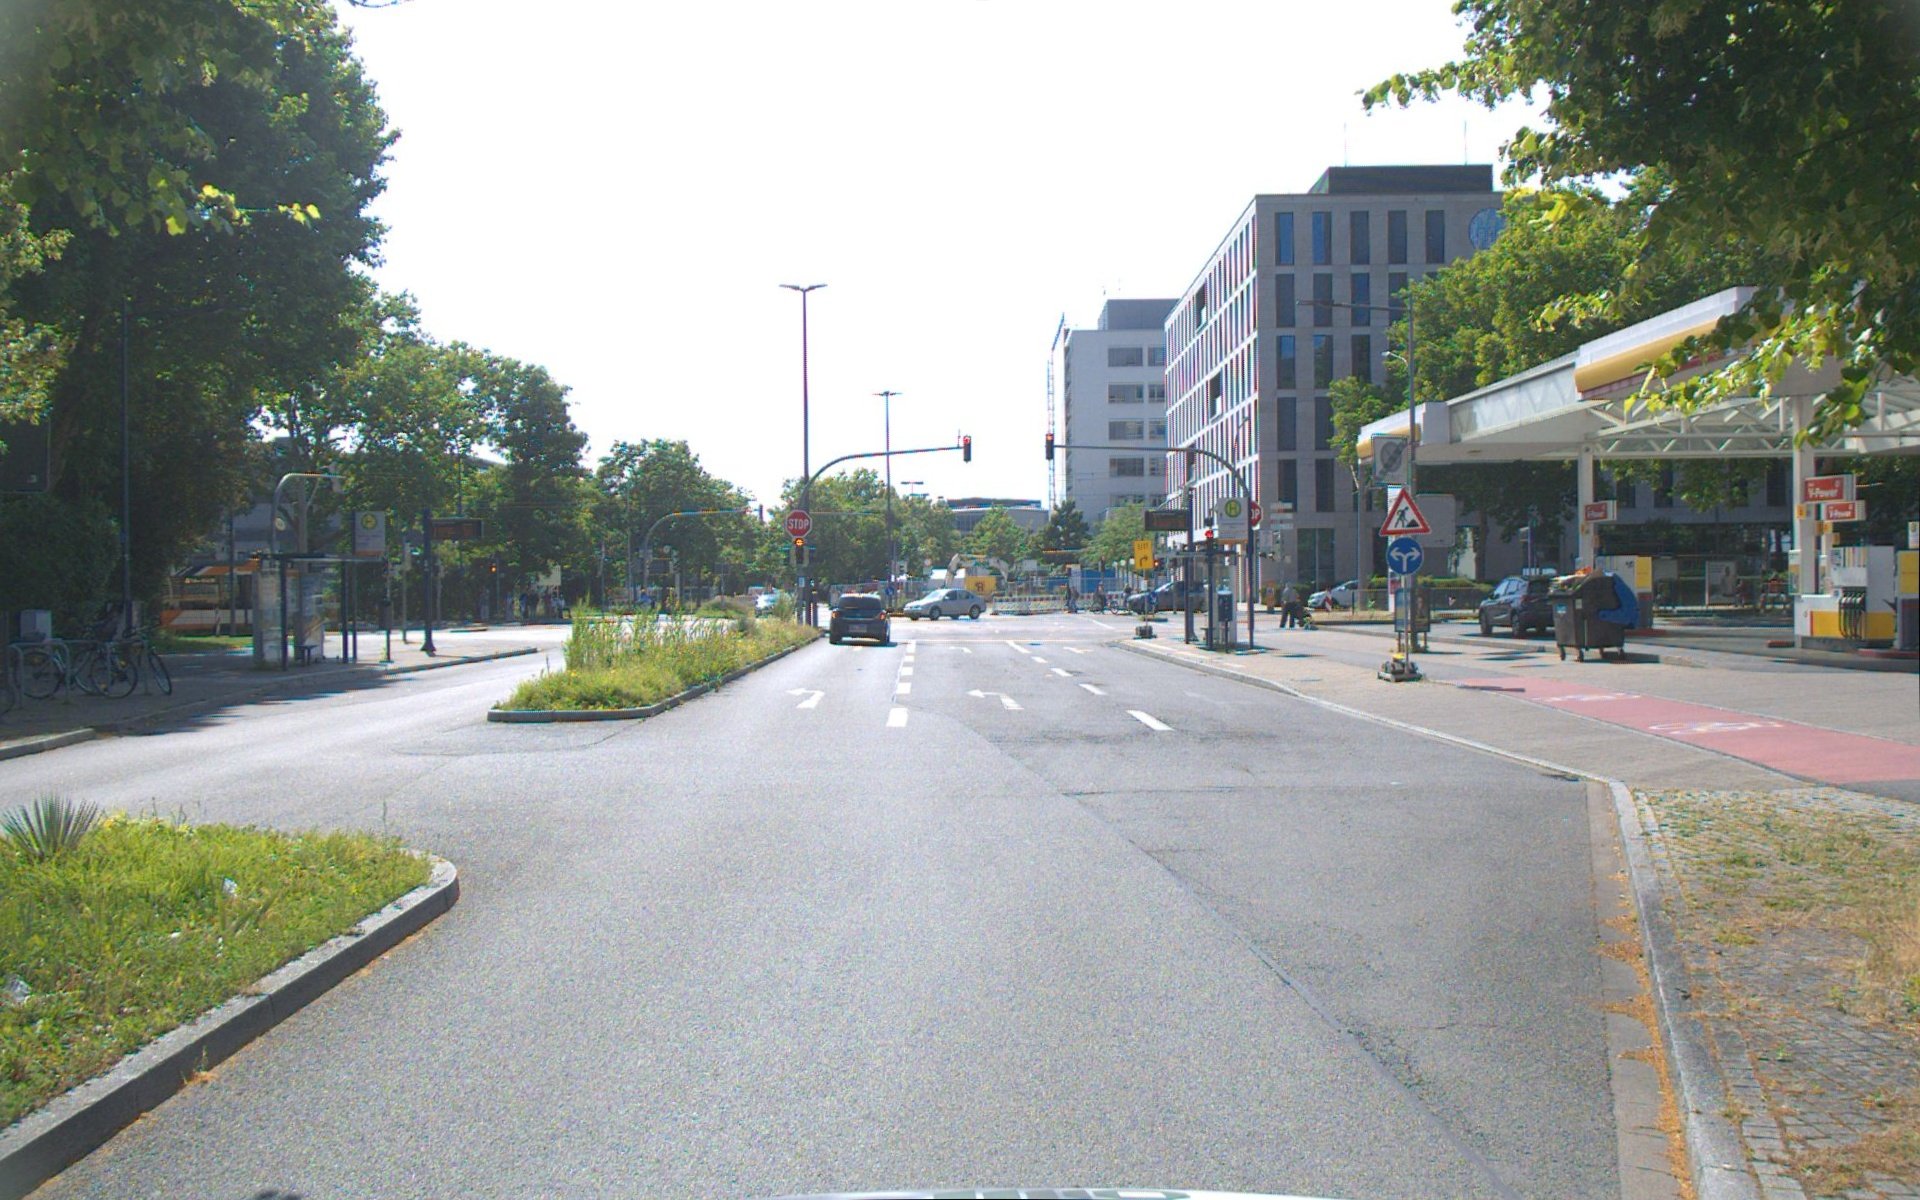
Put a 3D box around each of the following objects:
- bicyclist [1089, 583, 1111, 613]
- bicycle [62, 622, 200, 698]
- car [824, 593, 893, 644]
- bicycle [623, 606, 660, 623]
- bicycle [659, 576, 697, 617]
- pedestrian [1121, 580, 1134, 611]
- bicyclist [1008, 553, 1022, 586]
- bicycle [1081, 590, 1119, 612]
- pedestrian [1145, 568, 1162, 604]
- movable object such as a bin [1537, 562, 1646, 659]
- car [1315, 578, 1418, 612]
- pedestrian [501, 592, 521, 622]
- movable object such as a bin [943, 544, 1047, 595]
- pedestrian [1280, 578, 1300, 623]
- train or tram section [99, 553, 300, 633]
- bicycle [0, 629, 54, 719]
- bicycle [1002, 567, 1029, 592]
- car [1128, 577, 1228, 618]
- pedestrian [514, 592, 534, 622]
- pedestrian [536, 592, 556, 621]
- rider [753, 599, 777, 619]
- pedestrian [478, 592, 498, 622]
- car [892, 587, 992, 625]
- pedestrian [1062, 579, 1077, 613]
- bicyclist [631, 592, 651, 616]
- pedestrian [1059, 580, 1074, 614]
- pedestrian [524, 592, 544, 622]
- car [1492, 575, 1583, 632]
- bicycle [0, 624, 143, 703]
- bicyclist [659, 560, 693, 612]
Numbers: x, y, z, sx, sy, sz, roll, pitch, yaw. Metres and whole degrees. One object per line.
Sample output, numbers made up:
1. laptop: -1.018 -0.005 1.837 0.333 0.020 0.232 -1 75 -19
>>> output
1. bicyclist: 8.174 -0.107 96.490 1.213 1.702 0.525 0 0 7
2. bicycle: -12.993 0.933 25.948 1.807 1.142 0.693 -1 0 0
3. car: -3.030 0.522 49.077 1.954 1.422 3.996 -1 0 -4
4. bicycle: -17.332 0.795 90.040 1.964 0.899 0.525 -1 0 -12
5. bicycle: -16.456 -0.212 96.597 1.567 2.308 3.999 -1 0 -1
6. pedestrian: 9.836 -0.262 97.176 0.519 1.802 0.717 0 0 -14
7. bicyclist: 4.364 -2.404 130.956 1.047 2.619 0.828 0 0 5
8. bicycle: 8.159 0.057 96.481 2.181 1.307 0.525 0 0 7
9. pedestrian: 11.122 -0.801 95.179 0.763 2.049 0.776 0 0 27
10. movable object such as a bin: 11.213 0.180 29.430 1.282 1.620 1.395 -3 0 -4
11. car: 20.861 -0.254 84.920 4.757 1.665 1.999 -1 0 -3
12. pedestrian: -24.758 0.383 91.182 0.641 1.639 0.942 0 0 22
13. movable object such as a bin: 3.193 -2.783 151.636 9.476 4.629 3.164 0 0 0
14. pedestrian: 11.698 0.011 58.664 0.606 1.570 0.461 0 0 -2
15. train or tram section: -33.619 -0.315 73.358 7.404 3.390 3.118 -1 0 -3
16. bicycle: -12.712 0.948 21.185 1.807 1.111 0.693 -1 0 0
17. bicycle: 4.405 -1.625 130.956 2.044 1.996 0.828 0 0 5
18. car: 11.060 -0.143 84.162 4.758 2.049 1.999 0 0 -4
19. pedestrian: -24.023 0.374 91.185 0.641 1.639 0.942 0 0 22
20. pedestrian: -23.009 0.358 91.871 0.652 1.639 0.942 0 0 22
21. rider: -12.238 0.574 103.853 1.364 1.216 2.696 -1 0 -4
22. pedestrian: -25.878 0.401 90.663 0.641 1.639 0.942 0 0 22
23. car: -0.862 0.270 78.635 4.333 1.667 1.981 -1 0 -29
24. pedestrian: 6.603 -0.228 99.837 0.774 2.049 0.540 0 0 -11
25. bicyclist: -17.371 0.217 90.043 1.033 1.297 0.491 -1 0 -12
26. pedestrian: 6.475 -0.203 100.526 0.774 2.049 0.540 0 0 -11
27. pedestrian: -23.286 0.365 90.453 0.641 1.639 0.942 0 0 22
28. car: 15.083 0.086 43.327 1.615 1.422 3.645 -1 0 9
29. bicycle: -13.251 0.940 24.619 1.807 1.125 0.693 -1 0 0
30. bicyclist: -16.447 -0.808 95.788 1.567 2.982 2.353 -1 0 -1
